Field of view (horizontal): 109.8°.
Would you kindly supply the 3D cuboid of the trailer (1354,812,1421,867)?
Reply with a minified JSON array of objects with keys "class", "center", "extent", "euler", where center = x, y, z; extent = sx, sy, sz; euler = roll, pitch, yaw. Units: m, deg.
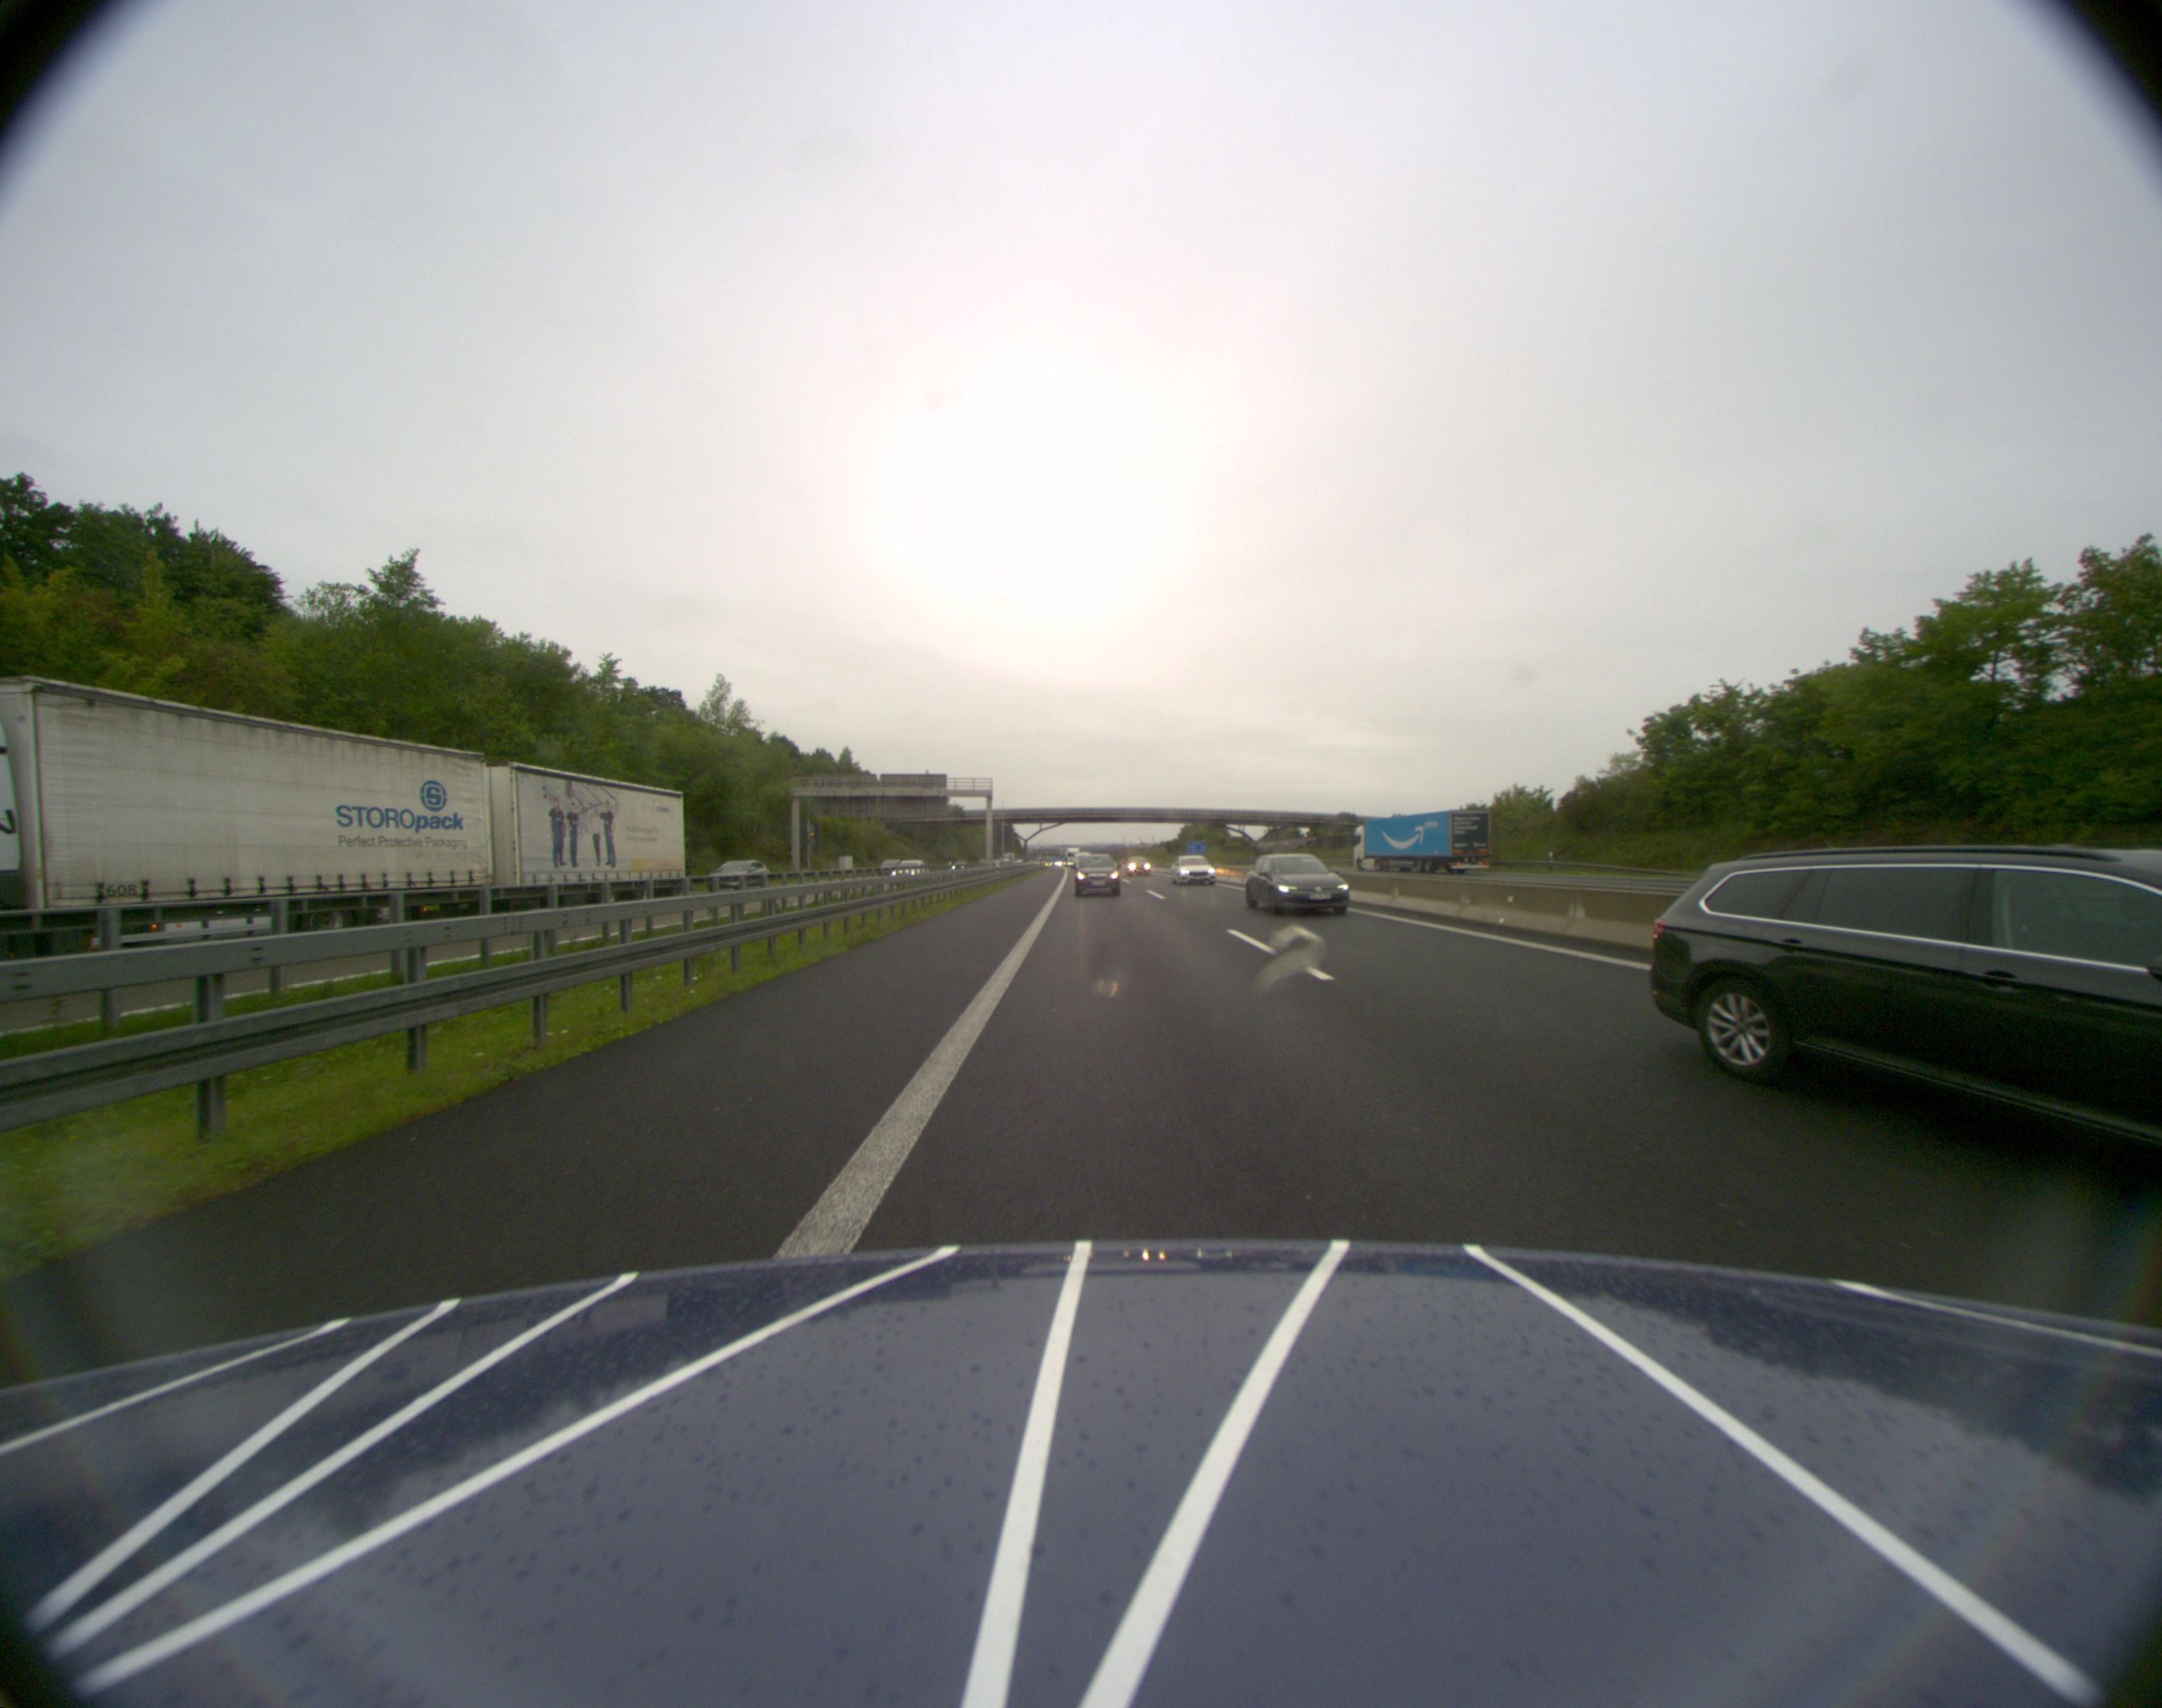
[{"class":"trailer","center":[24.082,-1.084,60.059],"extent":[2.796,4.060,6.041],"euler":[-1,0,0]}]

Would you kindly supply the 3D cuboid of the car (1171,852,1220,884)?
[{"class":"car","center":[5.823,0.674,39.175],"extent":[1.905,1.497,4.114],"euler":[-1,0,1]}]

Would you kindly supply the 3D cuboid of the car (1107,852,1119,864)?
[{"class":"car","center":[4.873,0.573,116.988],"extent":[1.715,1.724,4.000],"euler":[-1,0,1]}]

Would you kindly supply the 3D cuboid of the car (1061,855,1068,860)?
[{"class":"car","center":[-5.457,1.228,253.344],"extent":[1.916,1.671,4.000],"euler":[-1,1,3]}]

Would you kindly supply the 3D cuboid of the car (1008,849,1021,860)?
[{"class":"car","center":[-11.587,0.011,132.984],"extent":[1.864,1.795,4.647],"euler":[-1,1,0]}]

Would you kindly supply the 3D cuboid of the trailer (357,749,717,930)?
[{"class":"trailer","center":[-15.510,-0.364,23.392],"extent":[3.446,4.264,10.452],"euler":[-1,0,0]}]

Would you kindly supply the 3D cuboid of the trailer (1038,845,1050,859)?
[{"class":"trailer","center":[-9.964,-0.562,203.904],"extent":[2.547,3.799,11.329],"euler":[-1,0,0]}]

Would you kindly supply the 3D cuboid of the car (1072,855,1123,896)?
[{"class":"car","center":[0.755,0.817,31.142],"extent":[1.905,1.497,4.115],"euler":[-1,0,3]}]

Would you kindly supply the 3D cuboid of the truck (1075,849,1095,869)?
[{"class":"truck","center":[0.482,0.517,87.782],"extent":[2.175,2.214,5.642],"euler":[-1,0,0]}]

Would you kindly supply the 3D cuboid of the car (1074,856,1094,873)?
[{"class":"car","center":[0.311,1.076,80.550],"extent":[1.825,1.669,4.001],"euler":[-1,1,4]}]

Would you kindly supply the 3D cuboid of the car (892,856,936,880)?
[{"class":"car","center":[-10.851,0.868,49.665],"extent":[1.864,1.439,4.157],"euler":[-1,1,0]}]

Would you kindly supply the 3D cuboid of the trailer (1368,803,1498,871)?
[{"class":"trailer","center":[24.077,-1.063,53.231],"extent":[2.796,4.060,13.525],"euler":[-1,0,0]}]

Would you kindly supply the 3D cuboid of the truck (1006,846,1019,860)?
[{"class":"truck","center":[-17.964,-0.227,199.070],"extent":[2.909,3.397,9.279],"euler":[-1,1,-2]}]

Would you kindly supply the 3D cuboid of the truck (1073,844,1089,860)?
[{"class":"truck","center":[0.009,-0.518,164.658],"extent":[3.153,3.332,13.099],"euler":[-1,1,0]}]

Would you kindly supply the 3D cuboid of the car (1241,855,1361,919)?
[{"class":"car","center":[5.487,0.753,19.594],"extent":[1.905,1.397,4.459],"euler":[-1,0,2]}]

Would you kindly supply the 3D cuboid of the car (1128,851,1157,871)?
[{"class":"car","center":[4.833,0.549,59.980],"extent":[1.905,1.497,4.113],"euler":[-1,0,0]}]

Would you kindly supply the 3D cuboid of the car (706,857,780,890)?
[{"class":"car","center":[-18.115,1.018,40.988],"extent":[1.864,1.605,4.499],"euler":[-1,1,1]}]

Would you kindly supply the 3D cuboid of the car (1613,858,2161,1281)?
[{"class":"car","center":[4.909,0.801,3.252],"extent":[1.905,1.488,4.851],"euler":[-1,0,1]}]

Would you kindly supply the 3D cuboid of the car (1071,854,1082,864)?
[{"class":"car","center":[-0.699,0.858,130.086],"extent":[1.715,1.724,4.000],"euler":[-1,0,1]}]

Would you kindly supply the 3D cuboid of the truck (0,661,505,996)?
[{"class":"truck","center":[-15.504,-0.307,12.872],"extent":[3.446,4.264,10.417],"euler":[-1,0,0]}]
